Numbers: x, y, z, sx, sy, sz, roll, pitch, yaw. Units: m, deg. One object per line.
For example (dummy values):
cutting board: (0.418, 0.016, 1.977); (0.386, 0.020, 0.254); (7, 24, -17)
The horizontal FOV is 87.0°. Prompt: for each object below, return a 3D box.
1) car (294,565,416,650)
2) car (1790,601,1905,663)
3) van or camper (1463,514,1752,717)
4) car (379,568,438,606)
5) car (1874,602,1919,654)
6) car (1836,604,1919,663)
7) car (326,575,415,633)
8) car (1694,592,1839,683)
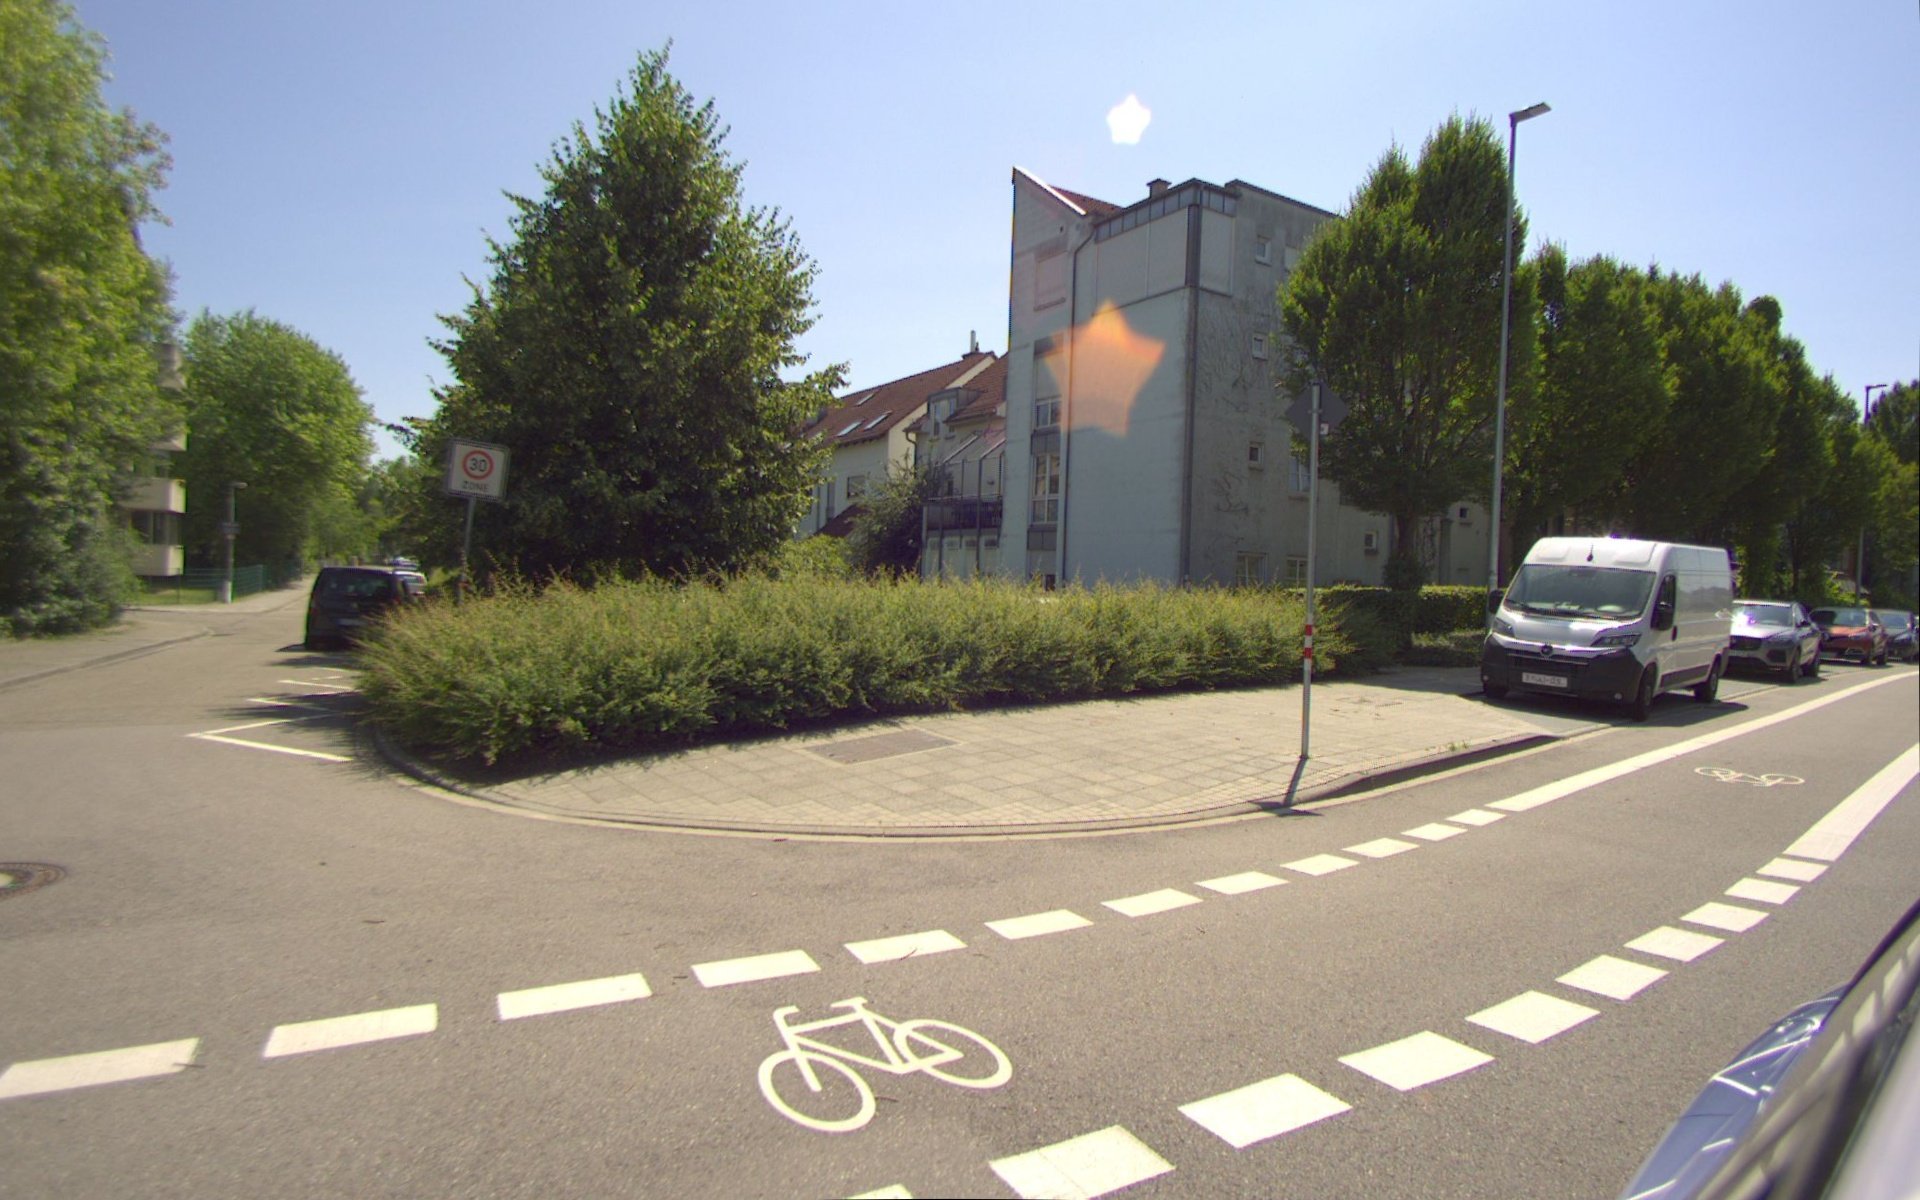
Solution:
car: (-13.314, 0.100, 22.506); (1.959, 1.708, 4.007); (1, 1, -26)
car: (24.954, 0.852, 28.416); (3.929, 1.571, 1.813); (1, 1, -40)
van or camper: (10.053, 0.151, 15.462); (5.891, 2.513, 2.124); (1, 4, -43)
car: (-24.695, -0.619, 45.463); (1.958, 1.571, 4.008); (1, 1, -24)
car: (33.485, 0.969, 35.296); (3.930, 1.682, 1.905); (1, 1, -41)
car: (29.511, 1.006, 32.150); (3.930, 1.682, 1.997); (1, 1, -41)
car: (-17.107, 0.080, 29.533); (1.806, 1.507, 4.008); (1, 1, -24)
car: (17.382, 0.736, 21.749); (3.933, 1.653, 1.825); (1, 3, -44)
